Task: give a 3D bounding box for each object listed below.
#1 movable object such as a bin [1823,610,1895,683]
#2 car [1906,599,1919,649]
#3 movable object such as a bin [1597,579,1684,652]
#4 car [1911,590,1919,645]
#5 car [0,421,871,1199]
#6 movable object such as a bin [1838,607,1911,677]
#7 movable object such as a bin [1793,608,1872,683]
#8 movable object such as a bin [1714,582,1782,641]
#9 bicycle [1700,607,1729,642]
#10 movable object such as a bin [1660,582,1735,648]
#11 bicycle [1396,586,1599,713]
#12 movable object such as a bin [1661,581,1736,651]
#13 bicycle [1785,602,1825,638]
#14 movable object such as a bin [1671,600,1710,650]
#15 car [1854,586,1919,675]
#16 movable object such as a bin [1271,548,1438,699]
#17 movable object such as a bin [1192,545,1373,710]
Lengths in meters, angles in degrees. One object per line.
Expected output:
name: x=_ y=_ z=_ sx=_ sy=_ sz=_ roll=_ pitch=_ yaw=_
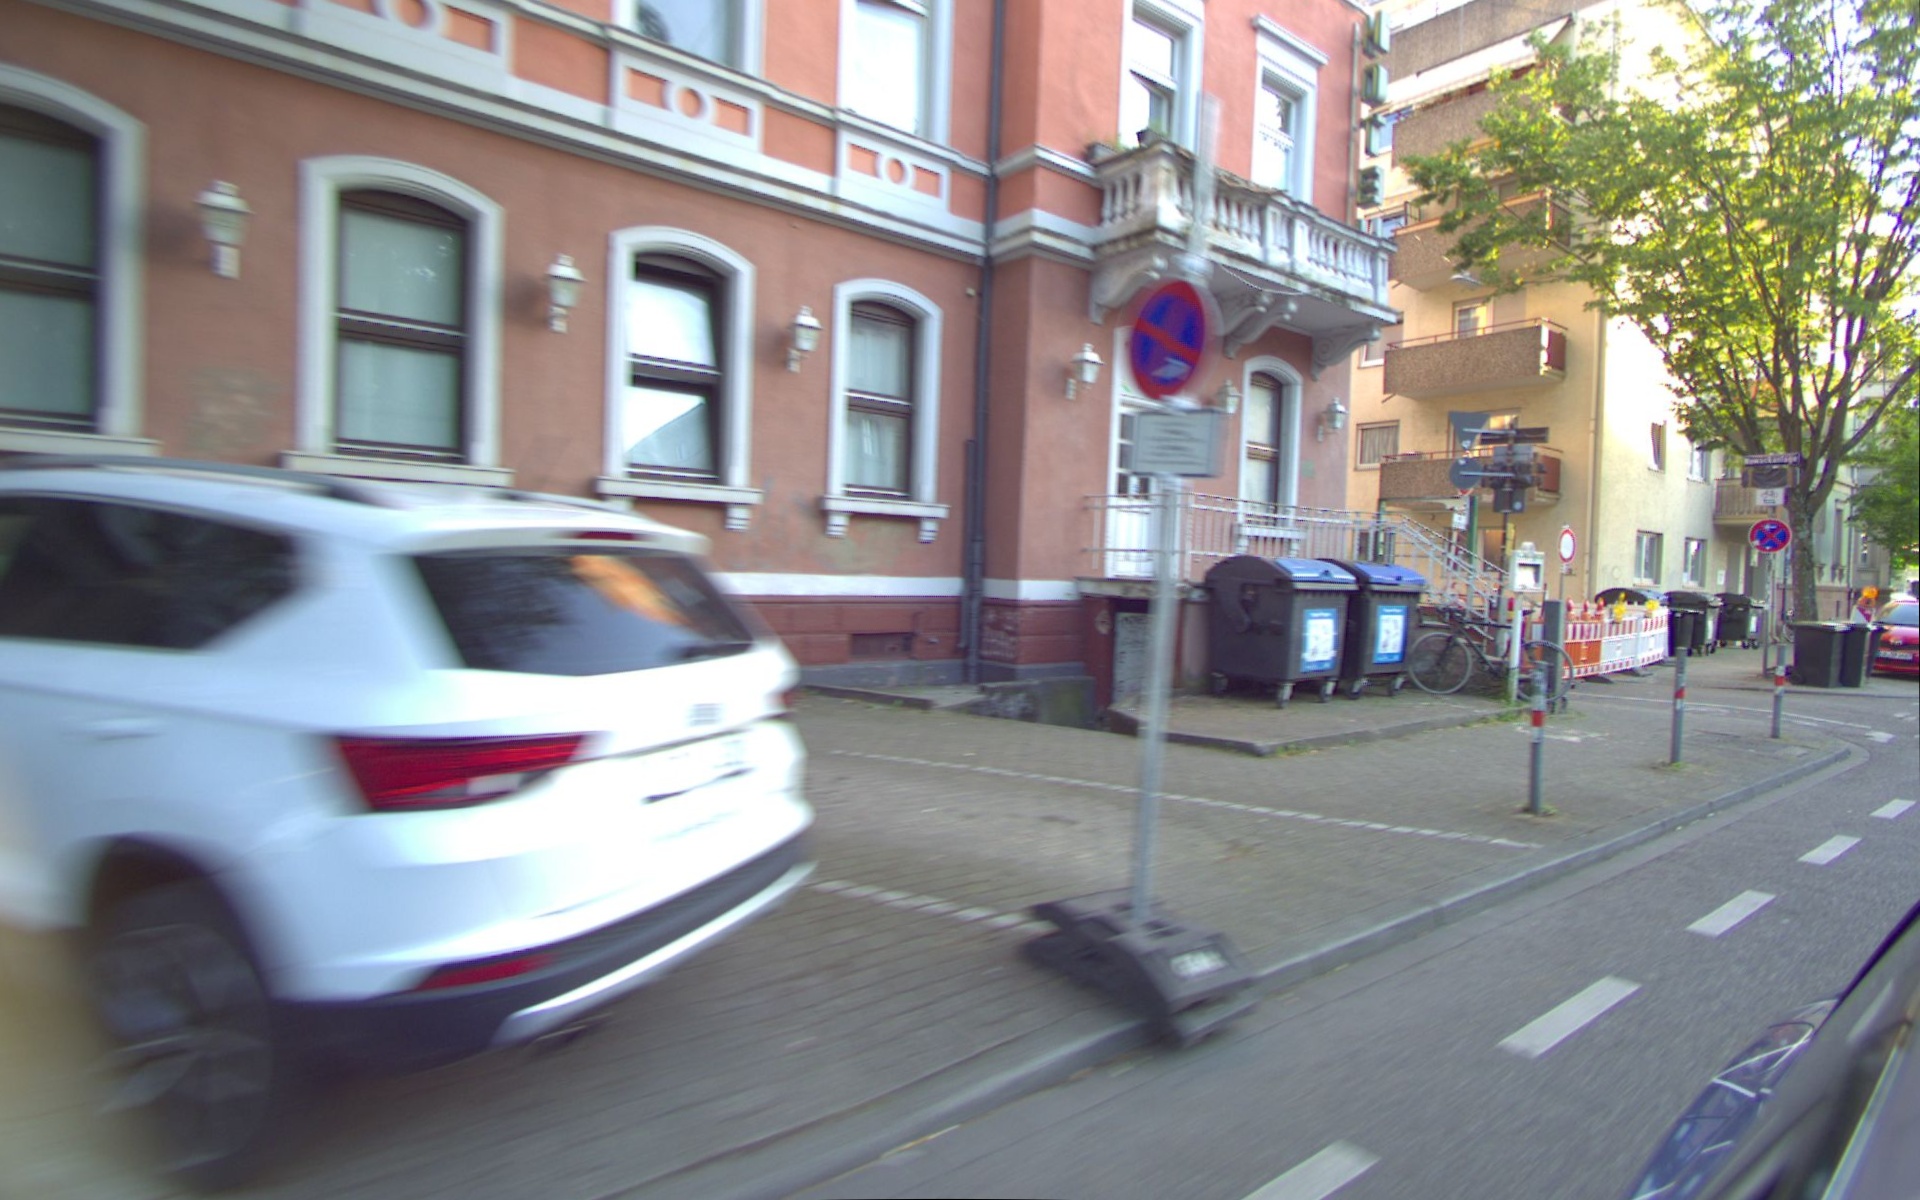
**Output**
movable object such as a bin: x=15.009 y=0.759 z=16.908 sx=0.576 sy=1.168 sz=0.716 roll=1 pitch=1 yaw=-26
car: x=30.413 y=0.776 z=29.201 sx=4.161 sy=1.472 sz=1.633 roll=2 pitch=1 yaw=22
movable object such as a bin: x=14.898 y=0.316 z=22.157 sx=1.569 sy=1.520 sz=1.143 roll=0 pitch=1 yaw=-39
car: x=32.341 y=0.636 z=31.070 sx=4.163 sy=1.746 sz=1.709 roll=2 pitch=1 yaw=23
car: x=-2.447 y=0.347 z=3.369 sx=3.910 sy=1.646 sz=1.662 roll=5 pitch=3 yaw=22
movable object such as a bin: x=16.141 y=0.731 z=17.876 sx=0.612 sy=1.168 sz=0.715 roll=1 pitch=1 yaw=5
movable object such as a bin: x=14.365 y=0.737 z=16.674 sx=0.576 sy=1.168 sz=0.797 roll=1 pitch=1 yaw=-26
movable object such as a bin: x=21.118 y=0.296 z=27.116 sx=1.455 sy=1.520 sz=1.116 roll=0 pitch=1 yaw=-39
bicycle: x=19.634 y=0.628 z=26.329 sx=1.205 sy=0.875 sz=0.413 roll=0 pitch=1 yaw=-44
movable object such as a bin: x=17.803 y=0.350 z=24.431 sx=1.247 sy=1.520 sz=1.143 roll=1 pitch=1 yaw=-38
bicycle: x=6.000 y=0.527 z=11.409 sx=1.893 sy=1.282 sz=0.598 roll=2 pitch=2 yaw=18
movable object such as a bin: x=16.816 y=0.345 z=23.054 sx=1.295 sy=1.520 sz=1.074 roll=0 pitch=1 yaw=-40
bicycle: x=26.598 y=0.607 z=31.855 sx=1.528 sy=1.088 sz=0.652 roll=0 pitch=1 yaw=-39
movable object such as a bin: x=16.131 y=0.549 z=22.361 sx=0.561 sy=1.060 sz=0.555 roll=1 pitch=1 yaw=-39
car: x=18.854 y=0.577 z=19.429 sx=3.621 sy=1.554 sz=1.571 roll=0 pitch=4 yaw=-33
movable object such as a bin: x=4.309 y=0.223 z=11.058 sx=1.373 sy=1.520 sz=1.143 roll=0 pitch=1 yaw=-39
movable object such as a bin: x=3.234 y=0.236 z=10.157 sx=1.373 sy=1.520 sz=1.143 roll=0 pitch=1 yaw=-39
